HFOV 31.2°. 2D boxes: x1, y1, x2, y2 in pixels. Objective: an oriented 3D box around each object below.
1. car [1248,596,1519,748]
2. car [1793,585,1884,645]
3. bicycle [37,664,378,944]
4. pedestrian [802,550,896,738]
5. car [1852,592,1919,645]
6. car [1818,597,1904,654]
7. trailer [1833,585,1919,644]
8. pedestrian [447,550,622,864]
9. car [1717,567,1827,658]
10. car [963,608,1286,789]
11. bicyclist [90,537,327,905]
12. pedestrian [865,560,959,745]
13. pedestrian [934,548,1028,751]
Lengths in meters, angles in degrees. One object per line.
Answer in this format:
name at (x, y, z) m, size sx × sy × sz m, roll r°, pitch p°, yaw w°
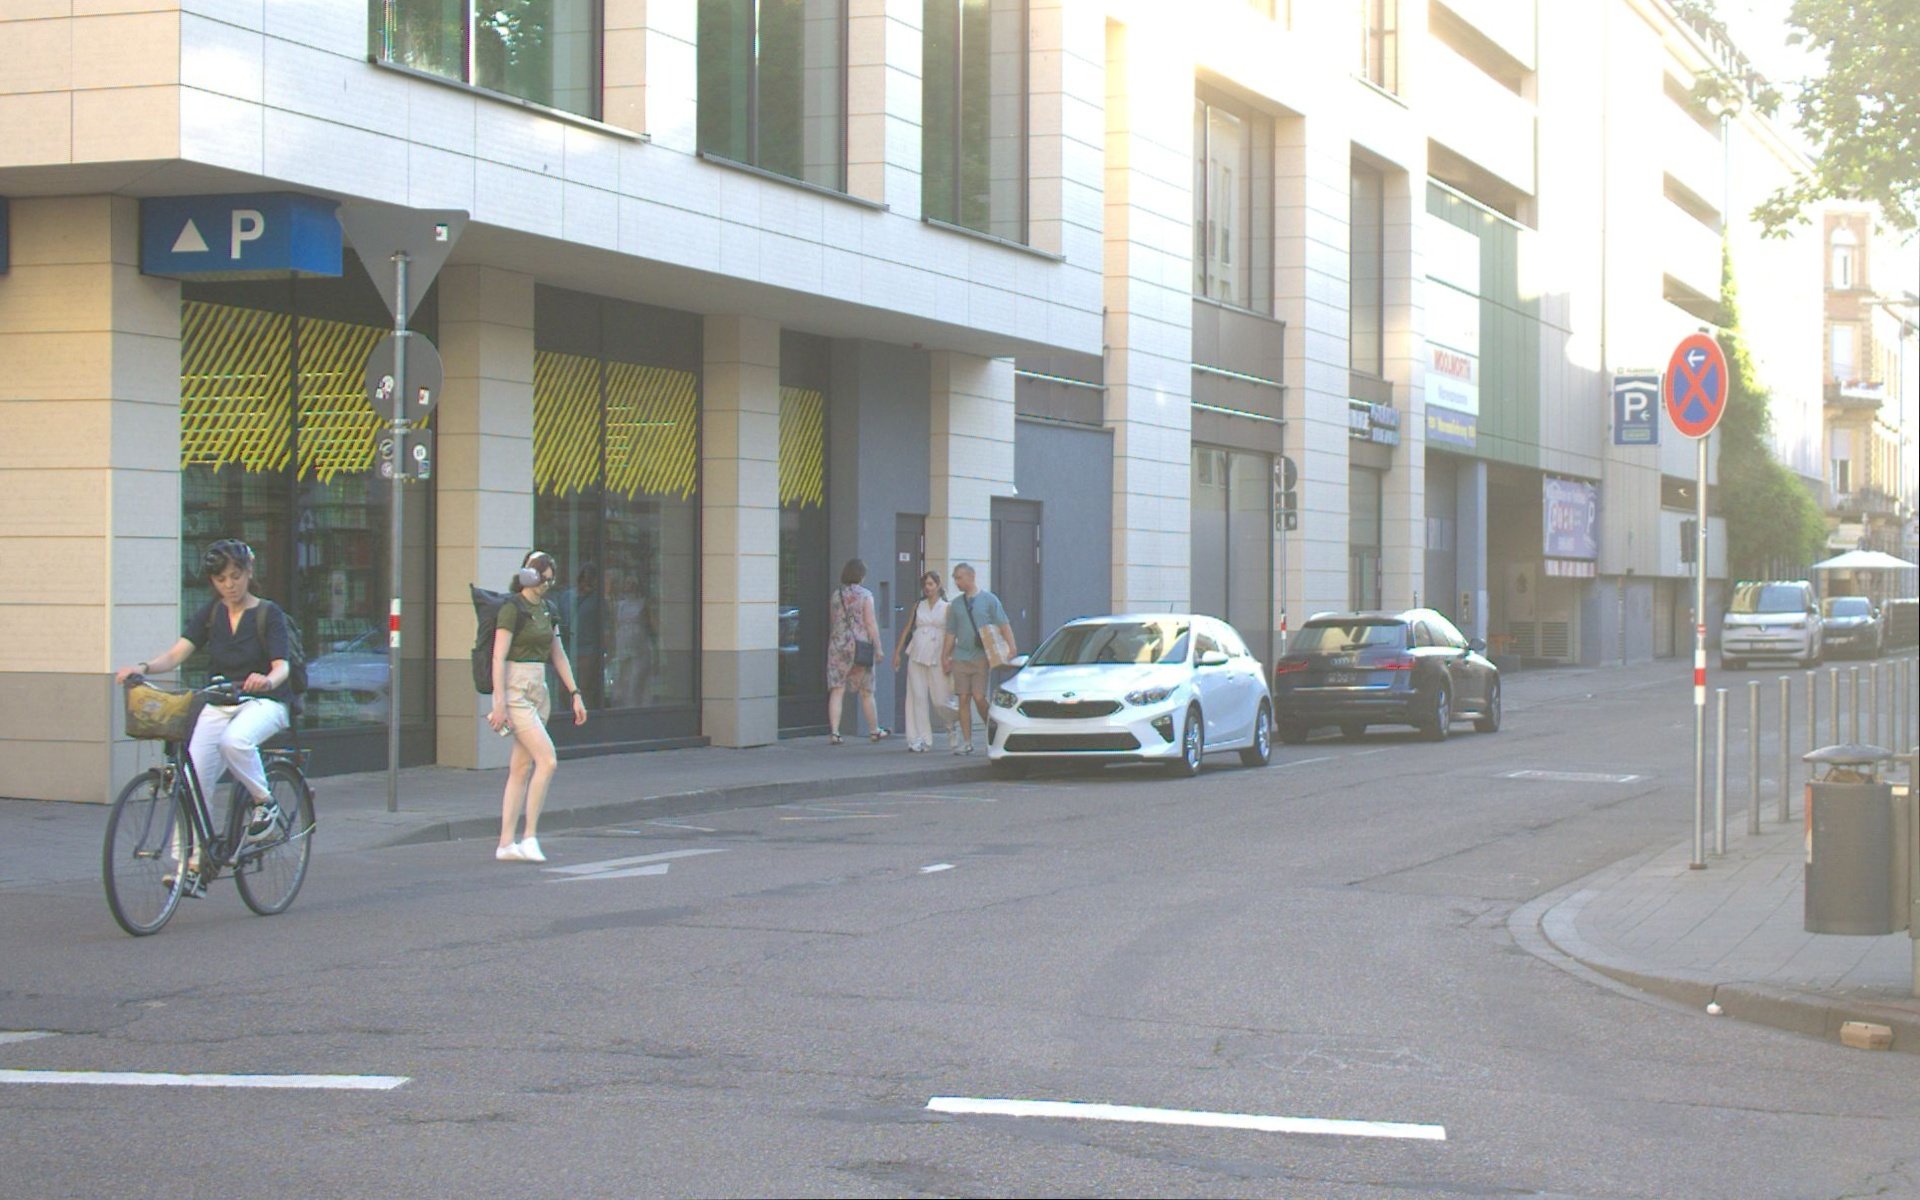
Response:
car at (4.902, 0.767, 39.212) m, size 1.885 × 1.592 × 4.684 m, roll 1°, pitch 0°, yaw 22°
car at (22.010, 0.368, 86.020) m, size 1.885 × 1.448 × 3.996 m, roll 1°, pitch 0°, yaw 19°
bicycle at (-3.303, 0.866, 15.269) m, size 0.664 × 1.134 × 1.820 m, roll 1°, pitch 0°, yaw 16°
pedestrian at (-1.035, 0.404, 32.176) m, size 0.672 × 1.738 × 0.647 m, roll 1°, pitch 0°, yaw 20°
car at (26.677, 0.515, 98.408) m, size 1.885 × 1.448 × 3.996 m, roll 1°, pitch 0°, yaw 19°
car at (23.814, 0.661, 90.774) m, size 1.885 × 1.448 × 3.996 m, roll 1°, pitch 0°, yaw 19°
trailer at (25.218, 0.415, 94.607) m, size 1.995 × 1.552 × 3.996 m, roll 1°, pitch 0°, yaw 19°
pedestrian at (-2.399, 0.583, 19.369) m, size 0.635 × 1.717 × 0.845 m, roll 1°, pitch 0°, yaw -35°
car at (17.818, 0.247, 75.301) m, size 1.885 × 1.905 × 4.743 m, roll 1°, pitch 0°, yaw 19°
car at (1.552, 0.821, 30.753) m, size 1.779 × 1.448 × 4.227 m, roll 1°, pitch 0°, yaw 19°
bicyclist at (-3.314, 0.518, 15.215) m, size 0.658 × 1.565 × 0.862 m, roll 1°, pitch 0°, yaw 16°
pedestrian at (-0.436, 0.473, 31.667) m, size 0.672 × 1.669 × 0.647 m, roll 1°, pitch 0°, yaw 18°
pedestrian at (0.195, 0.444, 31.471) m, size 0.672 × 1.830 × 0.647 m, roll 1°, pitch 0°, yaw 18°
